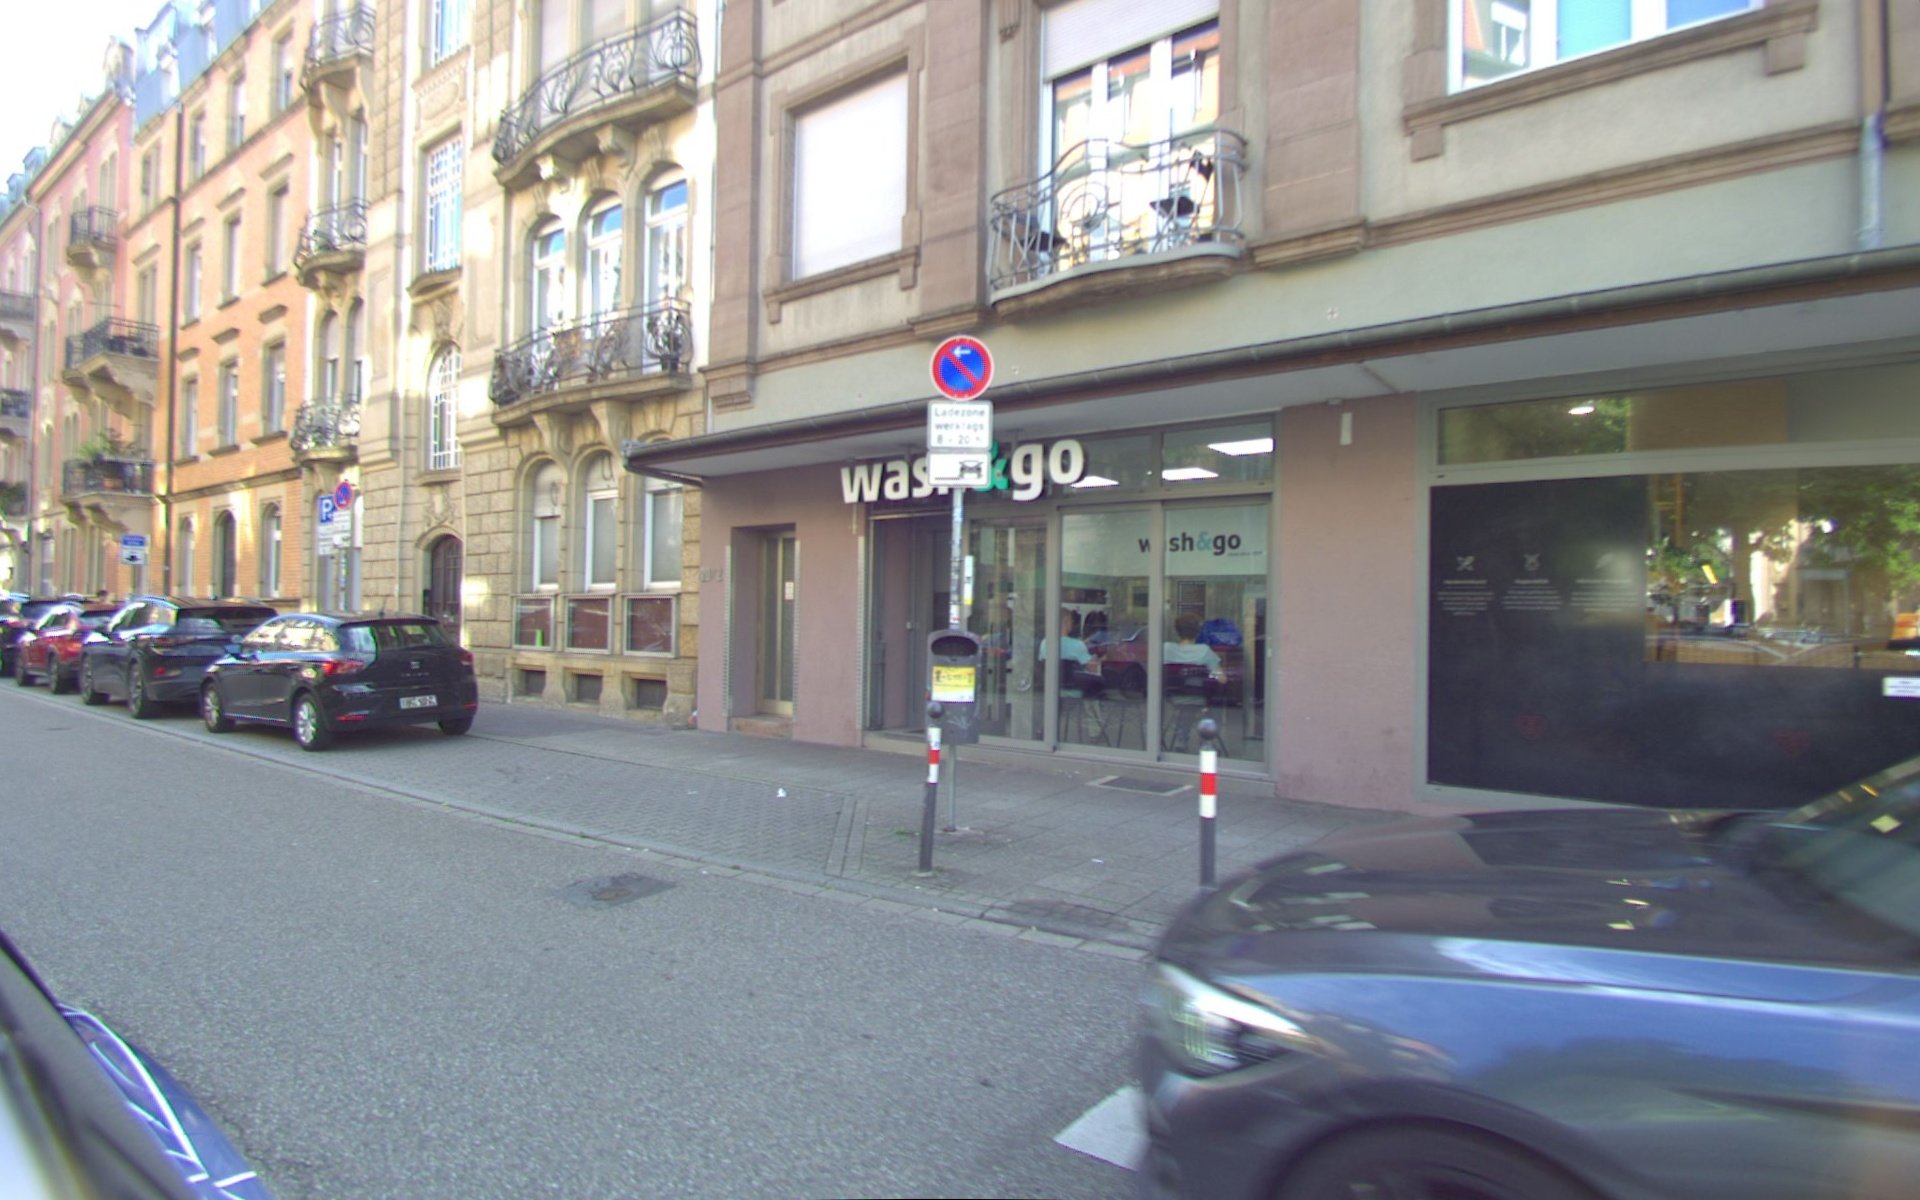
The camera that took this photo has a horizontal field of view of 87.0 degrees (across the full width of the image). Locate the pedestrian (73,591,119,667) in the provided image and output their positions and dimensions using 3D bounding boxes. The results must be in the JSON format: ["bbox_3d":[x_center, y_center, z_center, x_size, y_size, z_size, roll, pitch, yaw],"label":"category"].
[{"bbox_3d":[-21.176,0.693,24.795,0.863,1.822,0.748,0,0,41],"label":"pedestrian"}]

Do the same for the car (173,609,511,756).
[{"bbox_3d":[-7.342,0.840,11.895,4.238,1.431,1.975,0,-2,37],"label":"car"}]

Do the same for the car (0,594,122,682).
[{"bbox_3d":[-20.022,0.779,21.754,4.882,1.693,1.857,-1,-1,34],"label":"car"}]

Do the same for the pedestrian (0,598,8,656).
[{"bbox_3d":[-27.754,0.768,28.862,0.545,1.674,0.680,0,0,8],"label":"pedestrian"}]

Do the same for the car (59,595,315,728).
[{"bbox_3d":[-11.325,0.783,14.702,4.841,1.641,1.773,0,-2,38],"label":"car"}]

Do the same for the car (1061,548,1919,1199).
[{"bbox_3d":[2.419,0.676,1.513,4.196,1.447,1.737,1,0,31],"label":"car"}]

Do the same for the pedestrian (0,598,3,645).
[{"bbox_3d":[-35.234,0.786,36.722,0.762,1.709,0.657,0,0,38],"label":"pedestrian"}]

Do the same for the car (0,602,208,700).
[{"bbox_3d":[-15.505,0.837,18.230,4.419,1.556,1.975,0,-2,37],"label":"car"}]
